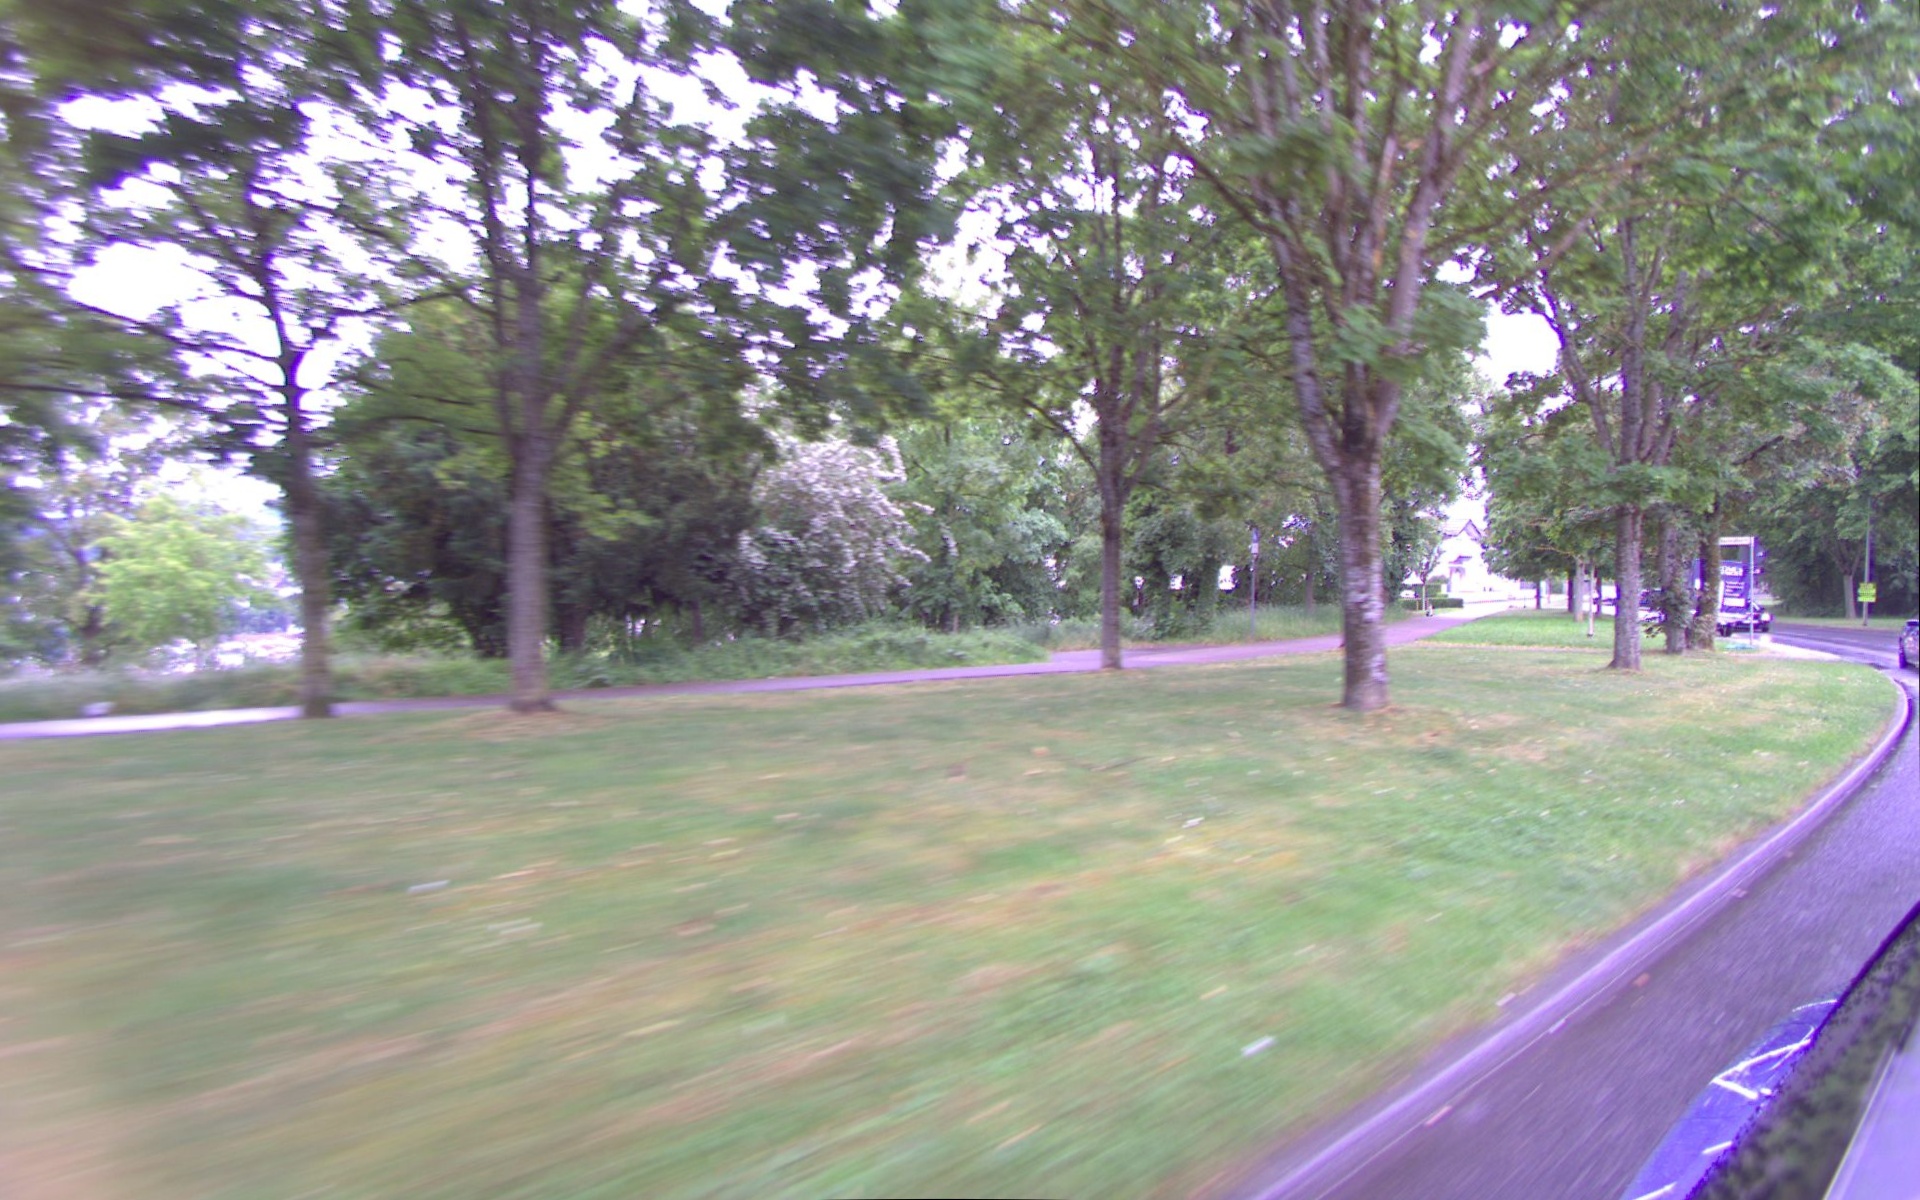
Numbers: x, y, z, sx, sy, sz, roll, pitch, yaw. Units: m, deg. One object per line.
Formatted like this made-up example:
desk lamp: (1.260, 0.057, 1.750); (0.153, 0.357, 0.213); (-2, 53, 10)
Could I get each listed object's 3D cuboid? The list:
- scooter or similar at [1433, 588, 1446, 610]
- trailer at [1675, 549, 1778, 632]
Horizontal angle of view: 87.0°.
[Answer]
scooter or similar: (25.925, -0.046, 54.690); (0.461, 1.161, 1.287); (3, 2, 31)
trailer: (29.725, -0.392, 39.456); (1.982, 2.841, 5.556); (7, 4, 27)
